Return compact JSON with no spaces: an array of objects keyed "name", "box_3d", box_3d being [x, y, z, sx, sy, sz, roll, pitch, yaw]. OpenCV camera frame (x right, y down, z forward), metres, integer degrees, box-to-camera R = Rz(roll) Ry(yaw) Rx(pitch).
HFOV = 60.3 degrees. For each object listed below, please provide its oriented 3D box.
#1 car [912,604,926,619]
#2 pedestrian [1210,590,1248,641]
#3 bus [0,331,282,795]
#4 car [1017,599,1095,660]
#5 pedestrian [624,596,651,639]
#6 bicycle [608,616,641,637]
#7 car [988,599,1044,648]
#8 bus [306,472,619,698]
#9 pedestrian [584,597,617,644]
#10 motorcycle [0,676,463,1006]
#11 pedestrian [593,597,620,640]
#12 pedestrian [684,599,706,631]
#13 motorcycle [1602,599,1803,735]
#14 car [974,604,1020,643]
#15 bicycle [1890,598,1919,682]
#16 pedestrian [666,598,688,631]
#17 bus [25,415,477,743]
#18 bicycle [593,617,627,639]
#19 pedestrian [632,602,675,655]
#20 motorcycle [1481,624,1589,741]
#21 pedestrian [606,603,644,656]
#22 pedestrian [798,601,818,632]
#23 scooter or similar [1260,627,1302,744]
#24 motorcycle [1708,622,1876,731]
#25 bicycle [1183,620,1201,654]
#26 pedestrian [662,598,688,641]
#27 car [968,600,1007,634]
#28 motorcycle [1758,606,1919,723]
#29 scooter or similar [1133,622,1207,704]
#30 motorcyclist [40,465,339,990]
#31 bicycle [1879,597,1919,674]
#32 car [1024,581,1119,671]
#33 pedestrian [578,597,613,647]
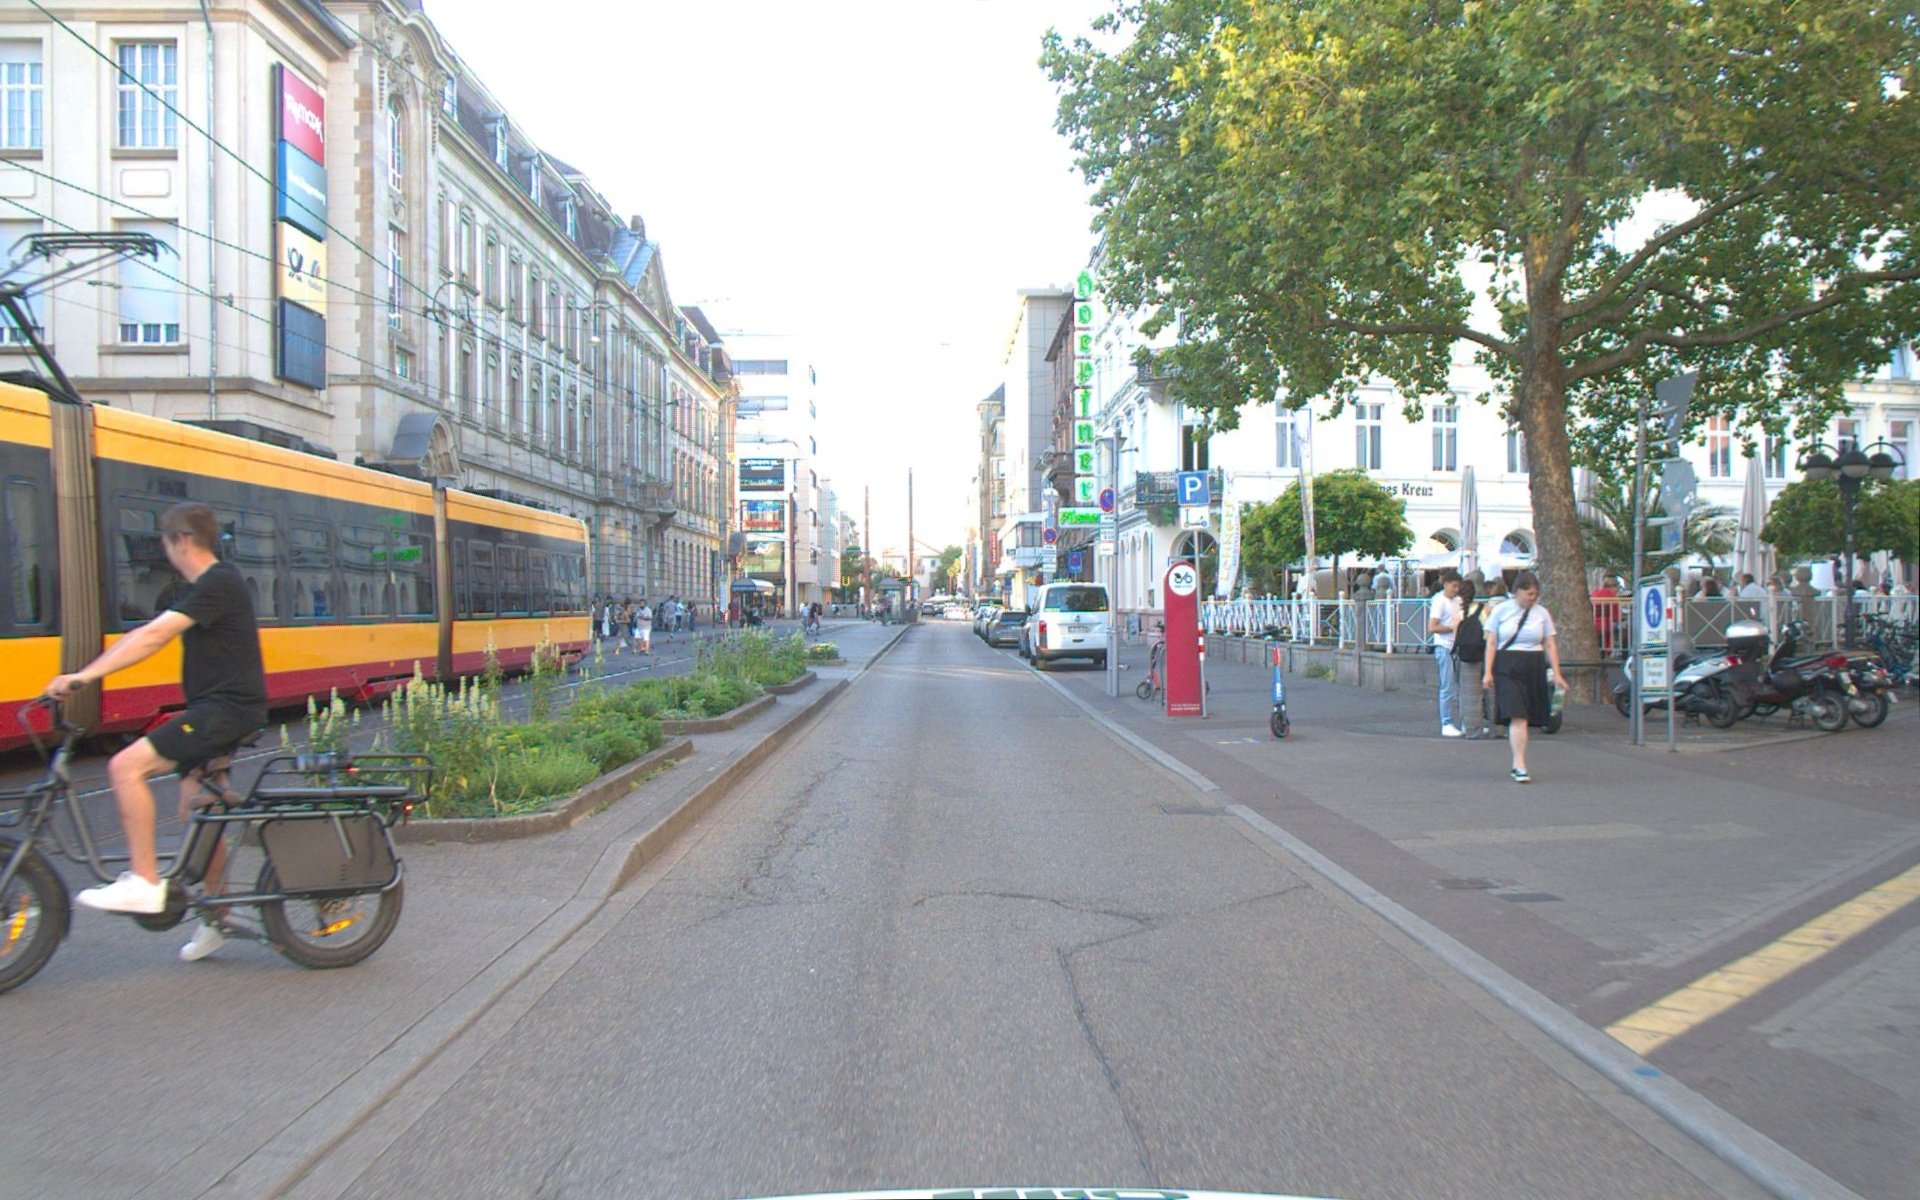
[{"name":"car","box_3d":[-5.416,1.549,218.825,1.725,1.859,3.569,-1,-2,-1]},{"name":"pedestrian","box_3d":[7.105,0.422,43.703,0.806,1.329,0.869,-1,-2,-2]},{"name":"bus","box_3d":[-9.036,-0.291,10.270,2.765,3.715,17.069,-1,0,-1]},{"name":"car","box_3d":[2.794,0.871,48.806,1.953,1.696,4.419,-1,-1,-1]},{"name":"pedestrian","box_3d":[-13.096,0.701,67.208,1.030,1.715,0.906,0,-2,-10]},{"name":"bicycle","box_3d":[-16.162,1.274,79.751,1.555,0.965,0.358,0,-1,-13]},{"name":"car","box_3d":[2.135,0.915,64.220,1.953,1.792,4.420,-1,-1,-1]},{"name":"bus","box_3d":[-9.387,-0.134,33.051,2.765,3.676,11.819,-1,-1,-1]},{"name":"pedestrian","box_3d":[-13.485,0.787,62.086,0.855,1.750,0.882,-2,-2,23]},{"name":"motorcycle","box_3d":[-3.031,0.890,6.471,2.020,1.143,0.563,0,-2,-28]},{"name":"pedestrian","box_3d":[-14.295,0.768,66.900,1.030,1.715,0.906,0,-2,-10]},{"name":"pedestrian","box_3d":[-14.437,0.826,90.210,1.033,1.715,0.903,0,0,-20]},{"name":"motorcycle","box_3d":[8.527,0.728,19.113,0.557,1.448,2.277,0,1,-27]},{"name":"car","box_3d":[1.682,1.130,77.073,1.953,1.696,4.419,-1,-2,-1]},{"name":"bicycle","box_3d":[15.704,0.639,25.807,0.437,1.314,2.090,-1,2,-36]},{"name":"pedestrian","box_3d":[-15.085,0.776,88.205,1.033,1.715,0.903,0,-1,-20]},{"name":"bus","box_3d":[-9.280,-0.217,22.974,2.765,3.688,8.287,-1,0,-1]},{"name":"bicycle","box_3d":[-16.197,1.294,76.553,1.555,0.965,0.358,0,-2,-13]},{"name":"pedestrian","box_3d":[-9.050,0.850,48.799,0.706,1.540,1.031,-3,-3,42]},{"name":"motorcycle","box_3d":[6.254,0.862,18.083,0.446,1.178,2.031,0,0,-1]},{"name":"pedestrian","box_3d":[-9.959,0.871,49.162,0.746,1.540,0.858,-3,-3,42]},{"name":"pedestrian","box_3d":[-8.595,0.919,93.427,1.027,1.715,0.908,0,0,-1]},{"name":"scooter or similar","box_3d":[3.605,0.936,18.609,0.308,1.243,1.273,-2,-1,6]},{"name":"motorcycle","box_3d":[9.573,0.848,19.098,0.544,1.171,1.782,0,0,-27]},{"name":"bicycle","box_3d":[6.329,1.009,45.156,0.245,0.918,1.373,-1,-2,-1]},{"name":"pedestrian","box_3d":[-11.824,0.812,68.560,1.030,1.715,0.906,0,-2,-10]},{"name":"car","box_3d":[1.494,0.959,90.232,1.953,1.696,4.419,-1,-2,-1]},{"name":"motorcycle","box_3d":[10.406,0.719,19.424,0.554,1.304,1.941,0,0,-27]},{"name":"scooter or similar","box_3d":[3.311,0.988,26.100,1.102,1.237,0.300,-2,0,0]},{"name":"motorcyclist","box_3d":[-3.013,0.463,6.485,0.990,1.845,0.951,0,-2,-28]},{"name":"bicycle","box_3d":[16.932,0.619,28.335,0.437,1.314,2.090,-2,2,-36]},{"name":"car","box_3d":[2.594,0.607,39.460,1.876,2.016,4.420,-1,-1,-1]},{"name":"pedestrian","box_3d":[-12.425,0.756,56.431,0.860,1.682,0.876,-1,-2,12]}]
